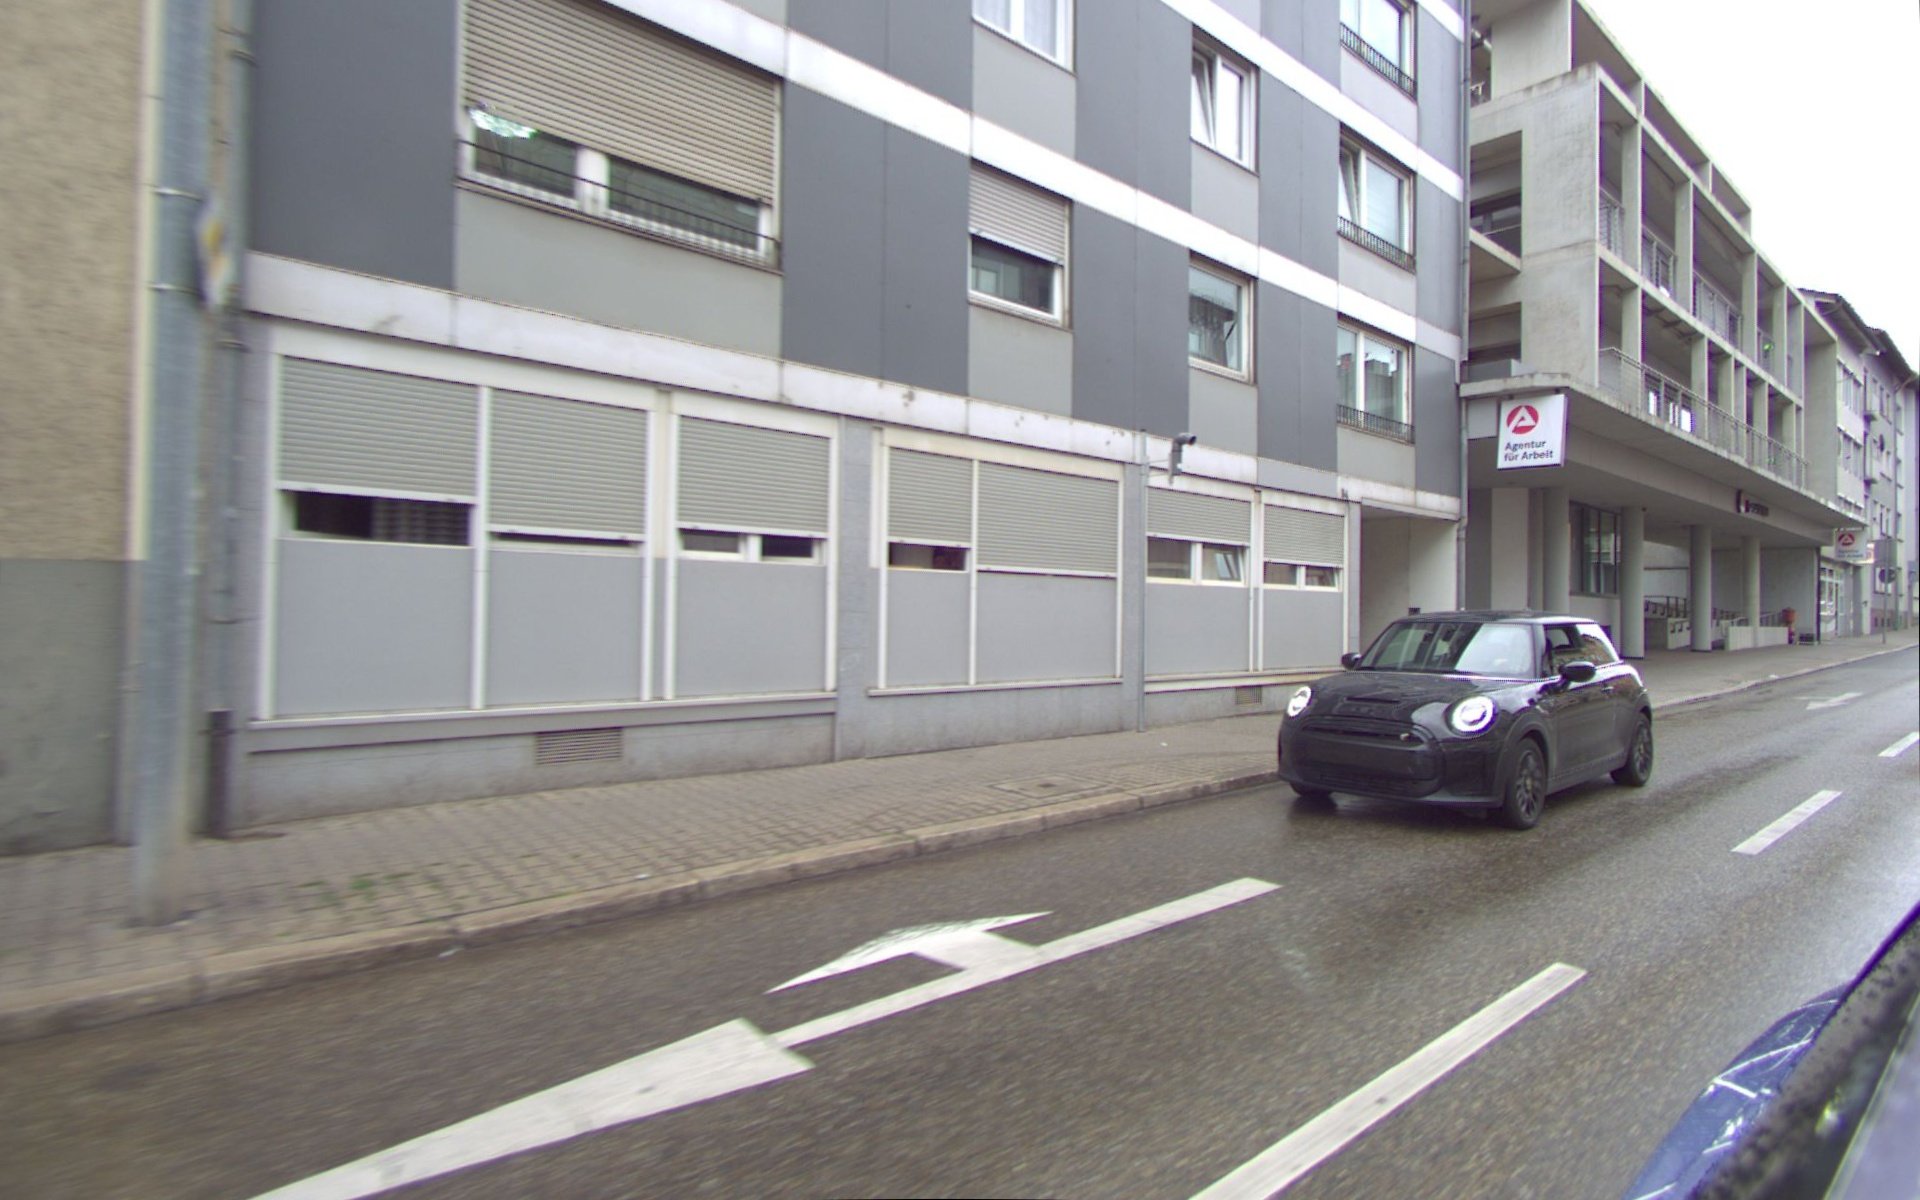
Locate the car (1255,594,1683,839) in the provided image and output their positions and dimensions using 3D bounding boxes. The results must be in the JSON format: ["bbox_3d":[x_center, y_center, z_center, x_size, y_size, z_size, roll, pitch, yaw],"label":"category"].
[{"bbox_3d":[4.200,0.722,8.054,4.002,1.439,1.662,-1,-2,-42],"label":"car"}]
